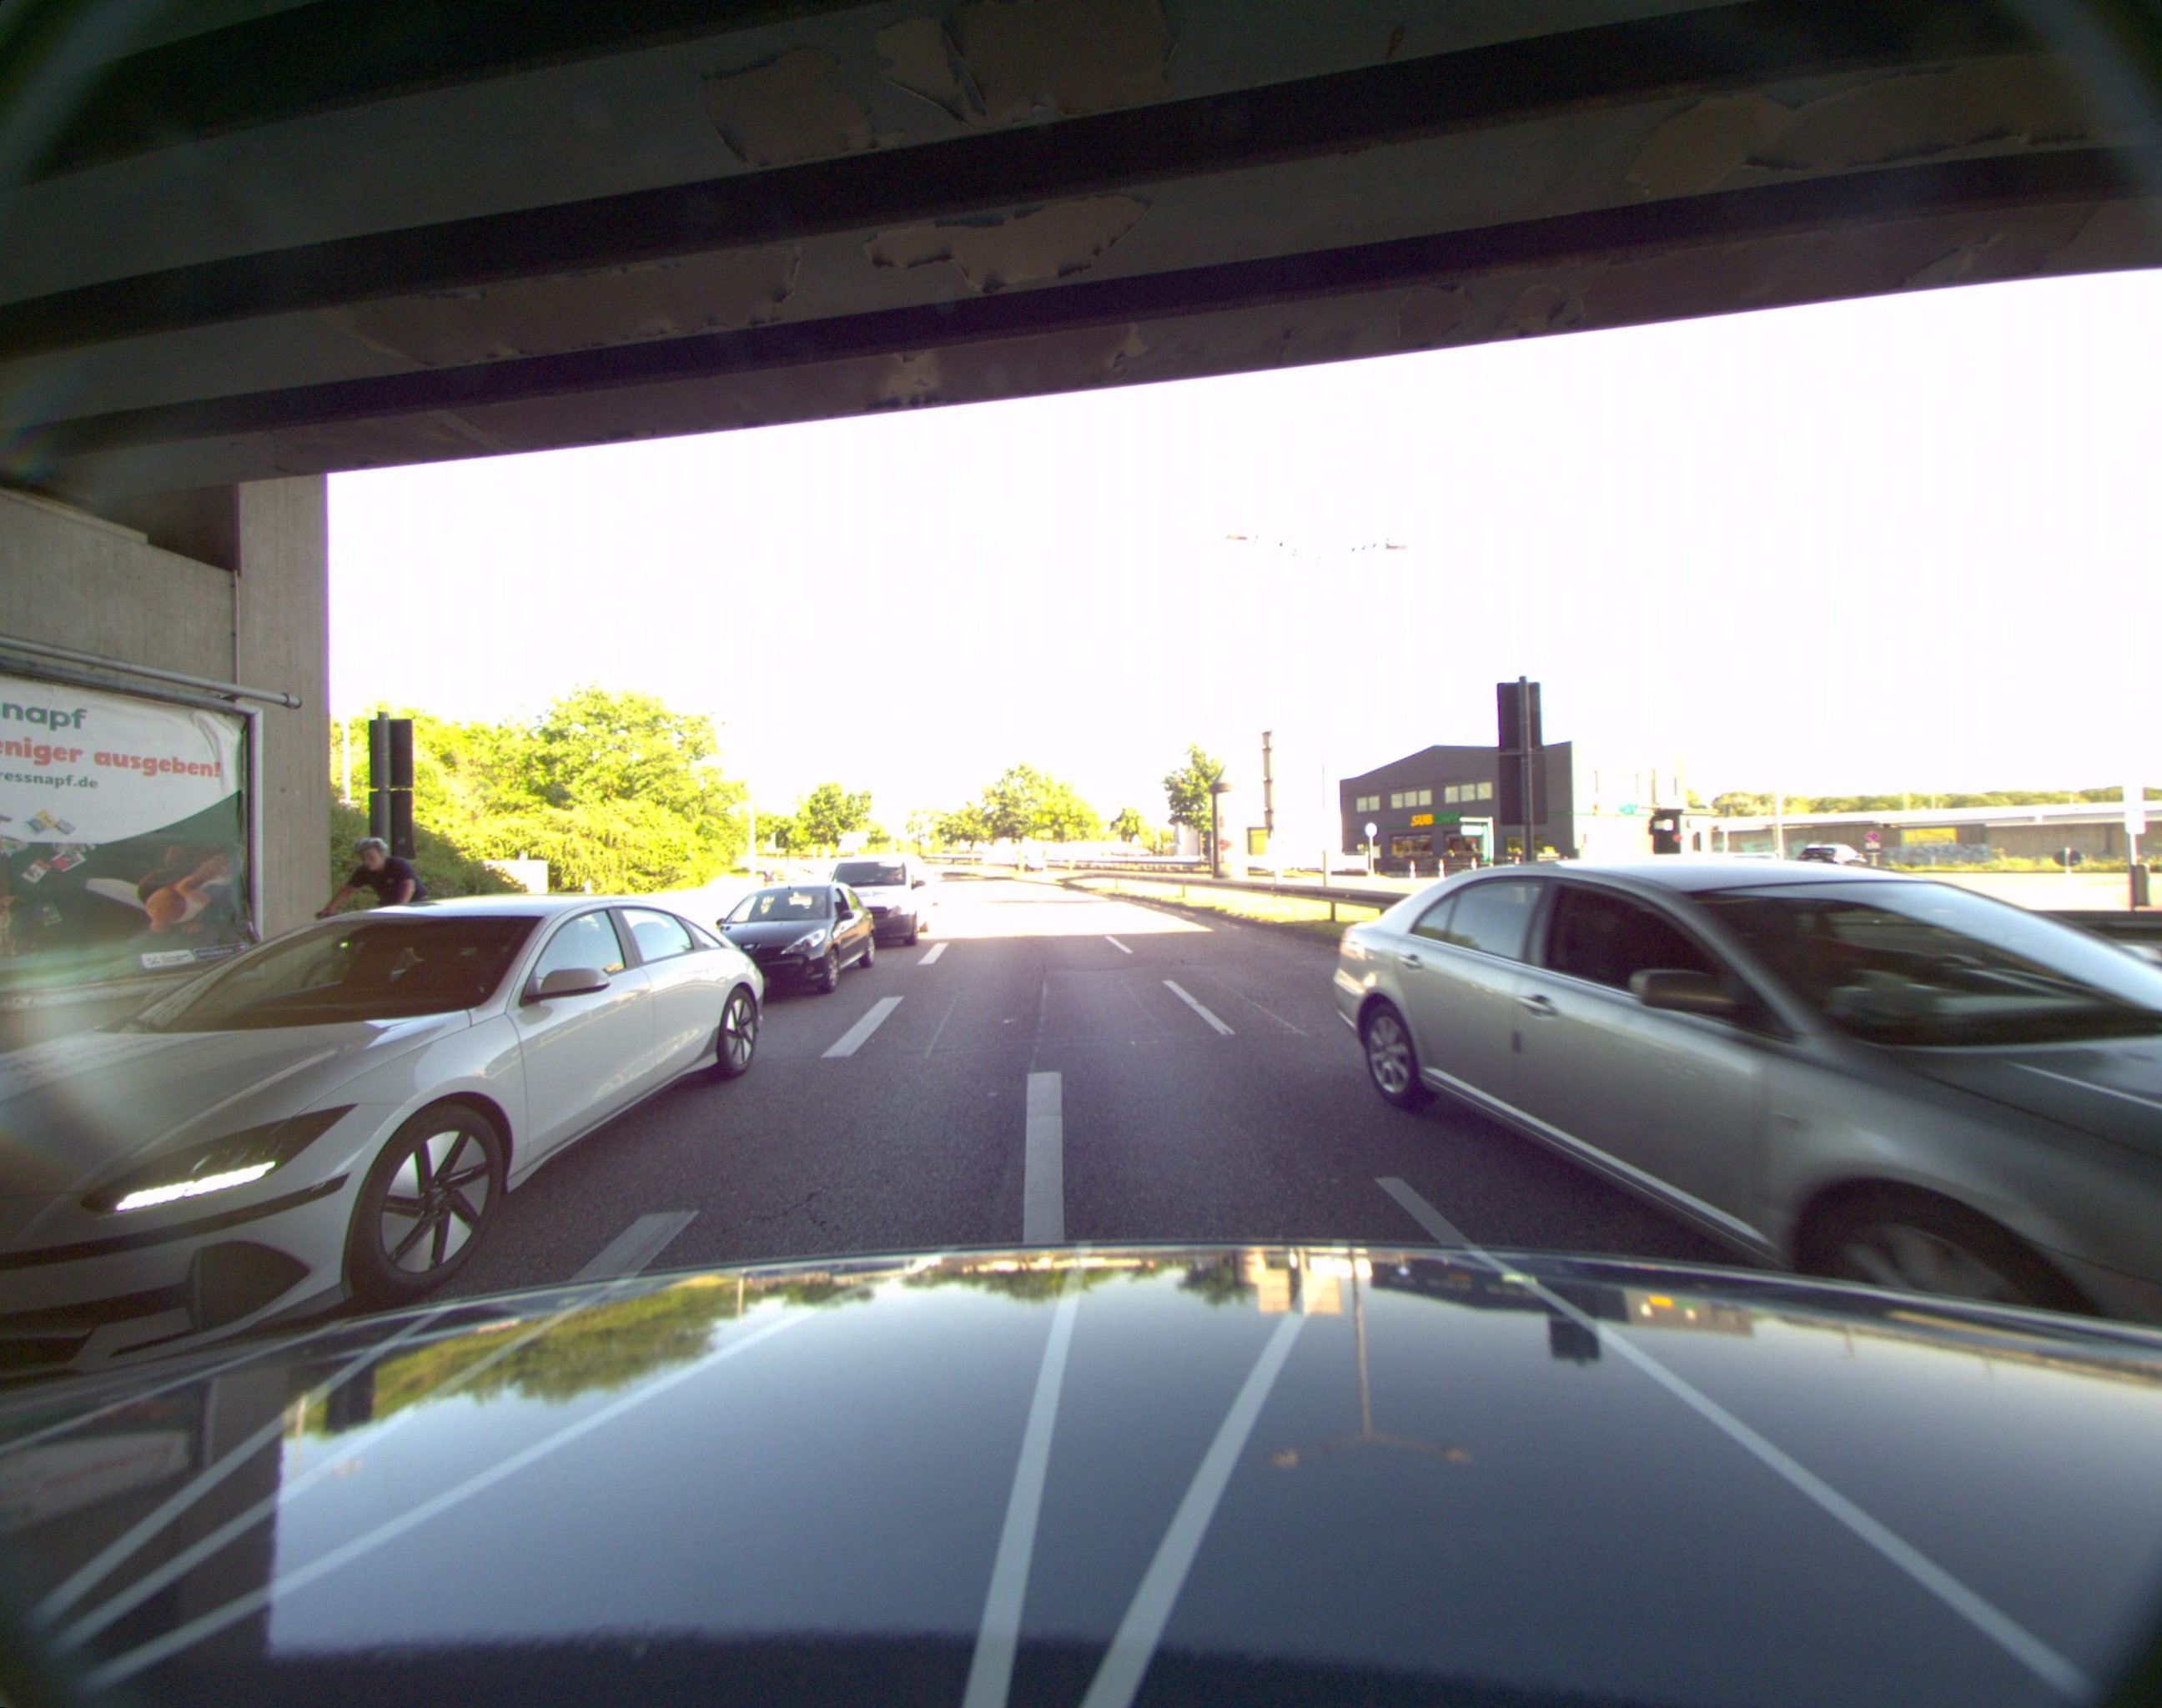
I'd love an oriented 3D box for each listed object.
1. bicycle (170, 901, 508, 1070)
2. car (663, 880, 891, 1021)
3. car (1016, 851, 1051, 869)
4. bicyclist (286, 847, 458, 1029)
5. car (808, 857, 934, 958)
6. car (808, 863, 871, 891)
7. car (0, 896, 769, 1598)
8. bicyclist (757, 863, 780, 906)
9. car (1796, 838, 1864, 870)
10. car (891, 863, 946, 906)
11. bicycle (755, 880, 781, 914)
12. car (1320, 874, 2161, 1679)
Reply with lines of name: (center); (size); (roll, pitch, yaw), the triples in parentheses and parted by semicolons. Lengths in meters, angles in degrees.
bicycle: (-6.867, 1.132, 7.317); (0.767, 1.139, 2.469); (-3, 1, 0)
car: (-3.995, 1.179, 10.693); (1.750, 1.447, 3.715); (-2, 0, -2)
car: (-4.579, 0.601, 72.666); (1.808, 1.597, 4.287); (-2, 0, -25)
bicyclist: (-6.870, 0.771, 7.416); (0.748, 1.646, 0.886); (-3, 1, 0)
car: (-4.437, 1.018, 16.801); (1.903, 1.825, 4.832); (-2, 0, -7)
car: (-15.256, 1.438, 48.282); (1.817, 1.586, 4.538); (-1, 0, 11)
car: (-3.434, 1.113, 4.122); (1.750, 1.447, 4.662); (-2, 0, -4)
bicyclist: (-11.337, 1.108, 27.598); (0.655, 1.524, 0.846); (1, -1, -16)
car: (38.427, 0.009, 38.941); (4.007, 1.434, 1.878); (-3, 1, -37)
car: (-6.700, 1.201, 31.727); (2.000, 1.542, 4.417); (-2, 1, -9)
bicycle: (-11.329, 1.534, 27.535); (0.653, 1.160, 1.776); (1, -1, -16)
car: (2.777, 0.891, 3.150); (1.702, 1.446, 4.395); (-2, 0, -7)
